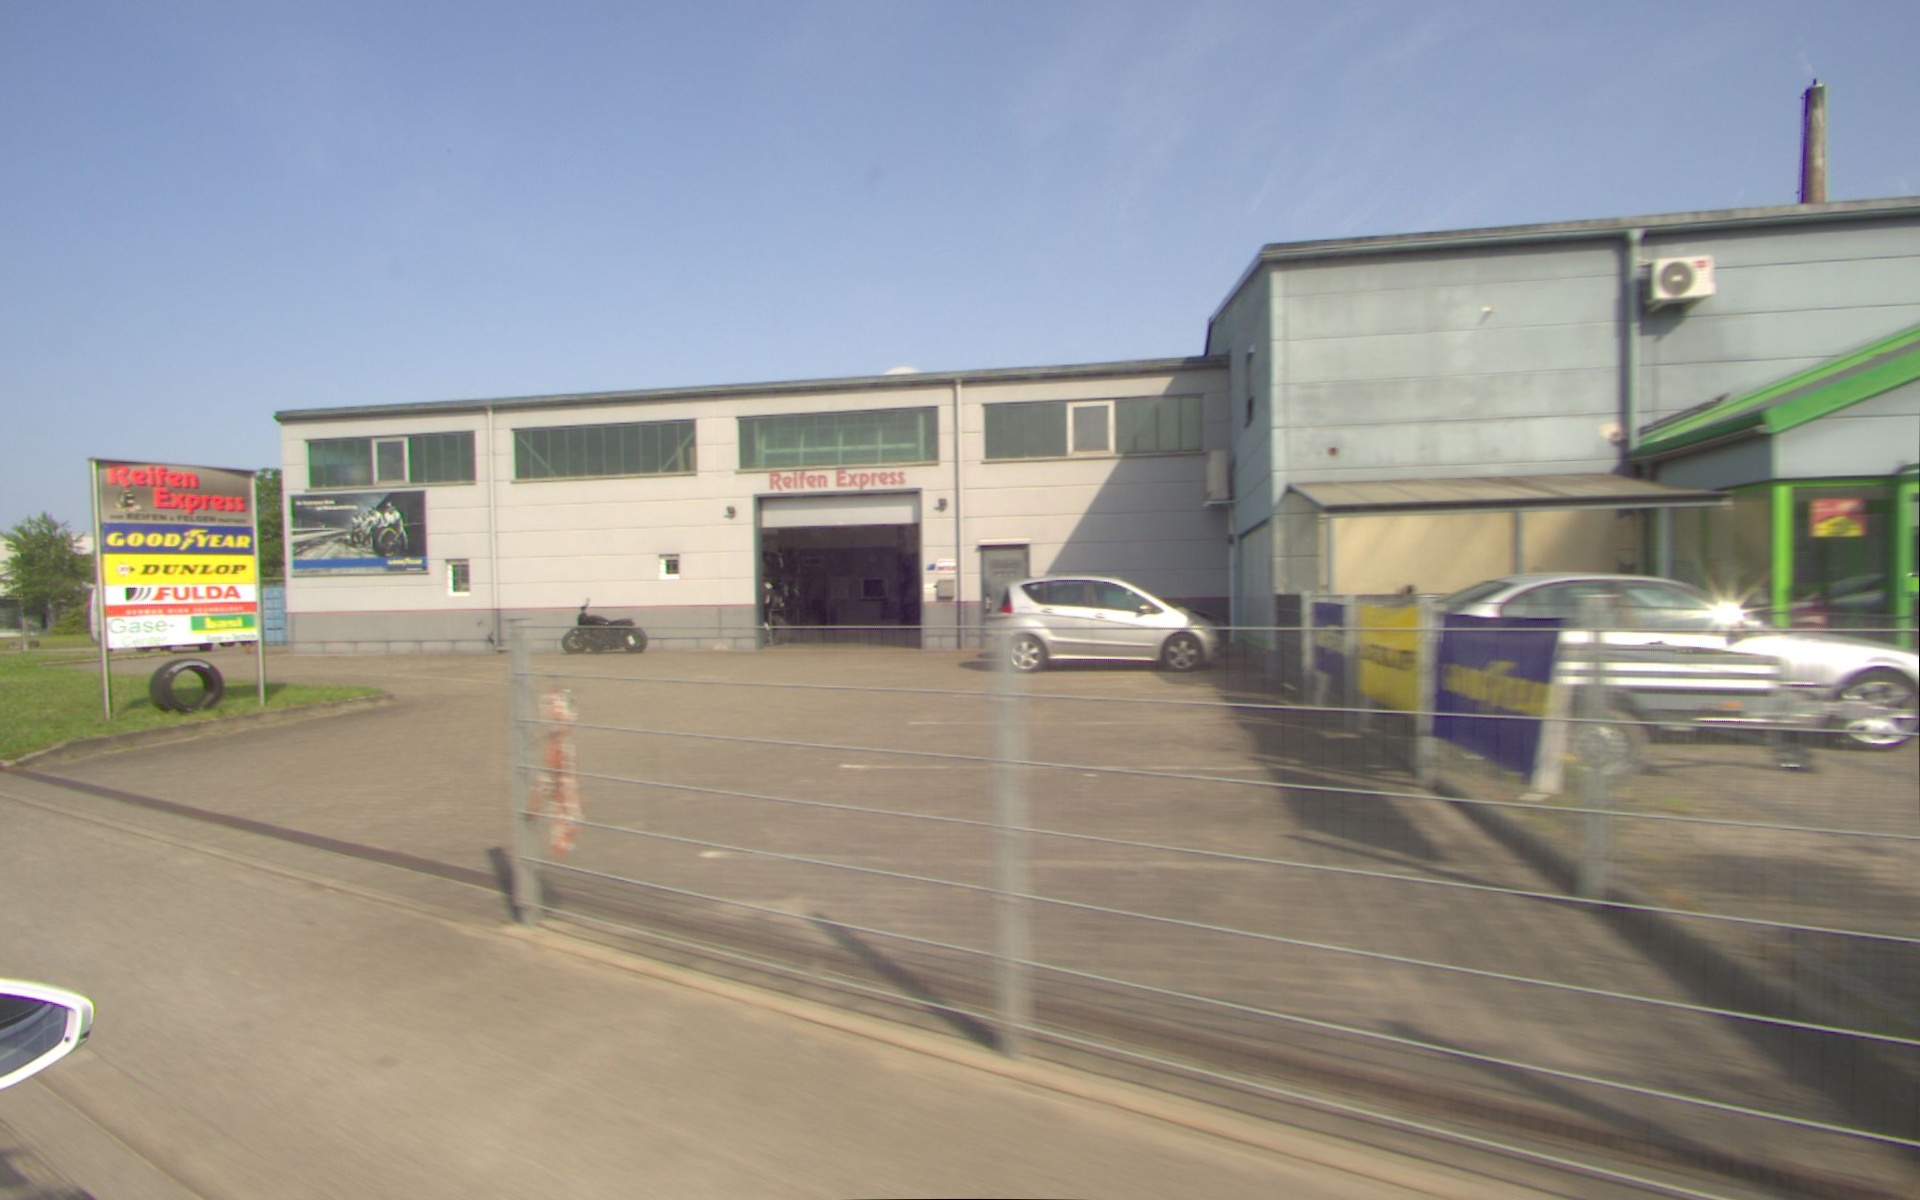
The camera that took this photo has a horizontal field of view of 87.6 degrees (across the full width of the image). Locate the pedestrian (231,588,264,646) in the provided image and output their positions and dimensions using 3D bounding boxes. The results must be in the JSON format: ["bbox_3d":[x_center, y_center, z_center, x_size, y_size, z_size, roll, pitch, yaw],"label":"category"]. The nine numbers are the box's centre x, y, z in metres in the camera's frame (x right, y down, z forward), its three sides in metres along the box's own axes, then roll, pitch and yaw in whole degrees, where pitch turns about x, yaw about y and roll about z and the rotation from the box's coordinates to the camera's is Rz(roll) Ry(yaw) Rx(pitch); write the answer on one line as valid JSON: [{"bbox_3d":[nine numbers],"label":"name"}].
[{"bbox_3d":[-20.575,0.483,28.926,0.695,1.662,0.744,-1,1,-32],"label":"pedestrian"}]

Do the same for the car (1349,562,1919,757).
[{"bbox_3d":[5.847,0.465,8.648,4.375,1.485,1.643,-1,1,9],"label":"car"}]

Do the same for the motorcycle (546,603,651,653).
[{"bbox_3d":[-8.379,0.643,23.243,2.160,1.109,0.803,-1,1,9],"label":"motorcycle"}]

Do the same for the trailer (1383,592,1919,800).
[{"bbox_3d":[4.693,0.598,6.960,2.919,1.264,1.495,0,-1,7],"label":"trailer"}]

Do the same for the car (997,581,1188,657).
[{"bbox_3d":[2.679,0.372,20.142,3.641,1.421,1.680,-1,1,11],"label":"car"}]

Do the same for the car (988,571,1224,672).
[{"bbox_3d":[2.458,0.357,16.868,3.734,1.589,1.638,-1,1,11],"label":"car"}]

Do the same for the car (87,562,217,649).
[{"bbox_3d":[-27.418,0.185,33.910,5.803,2.742,1.967,0,1,36],"label":"car"}]
